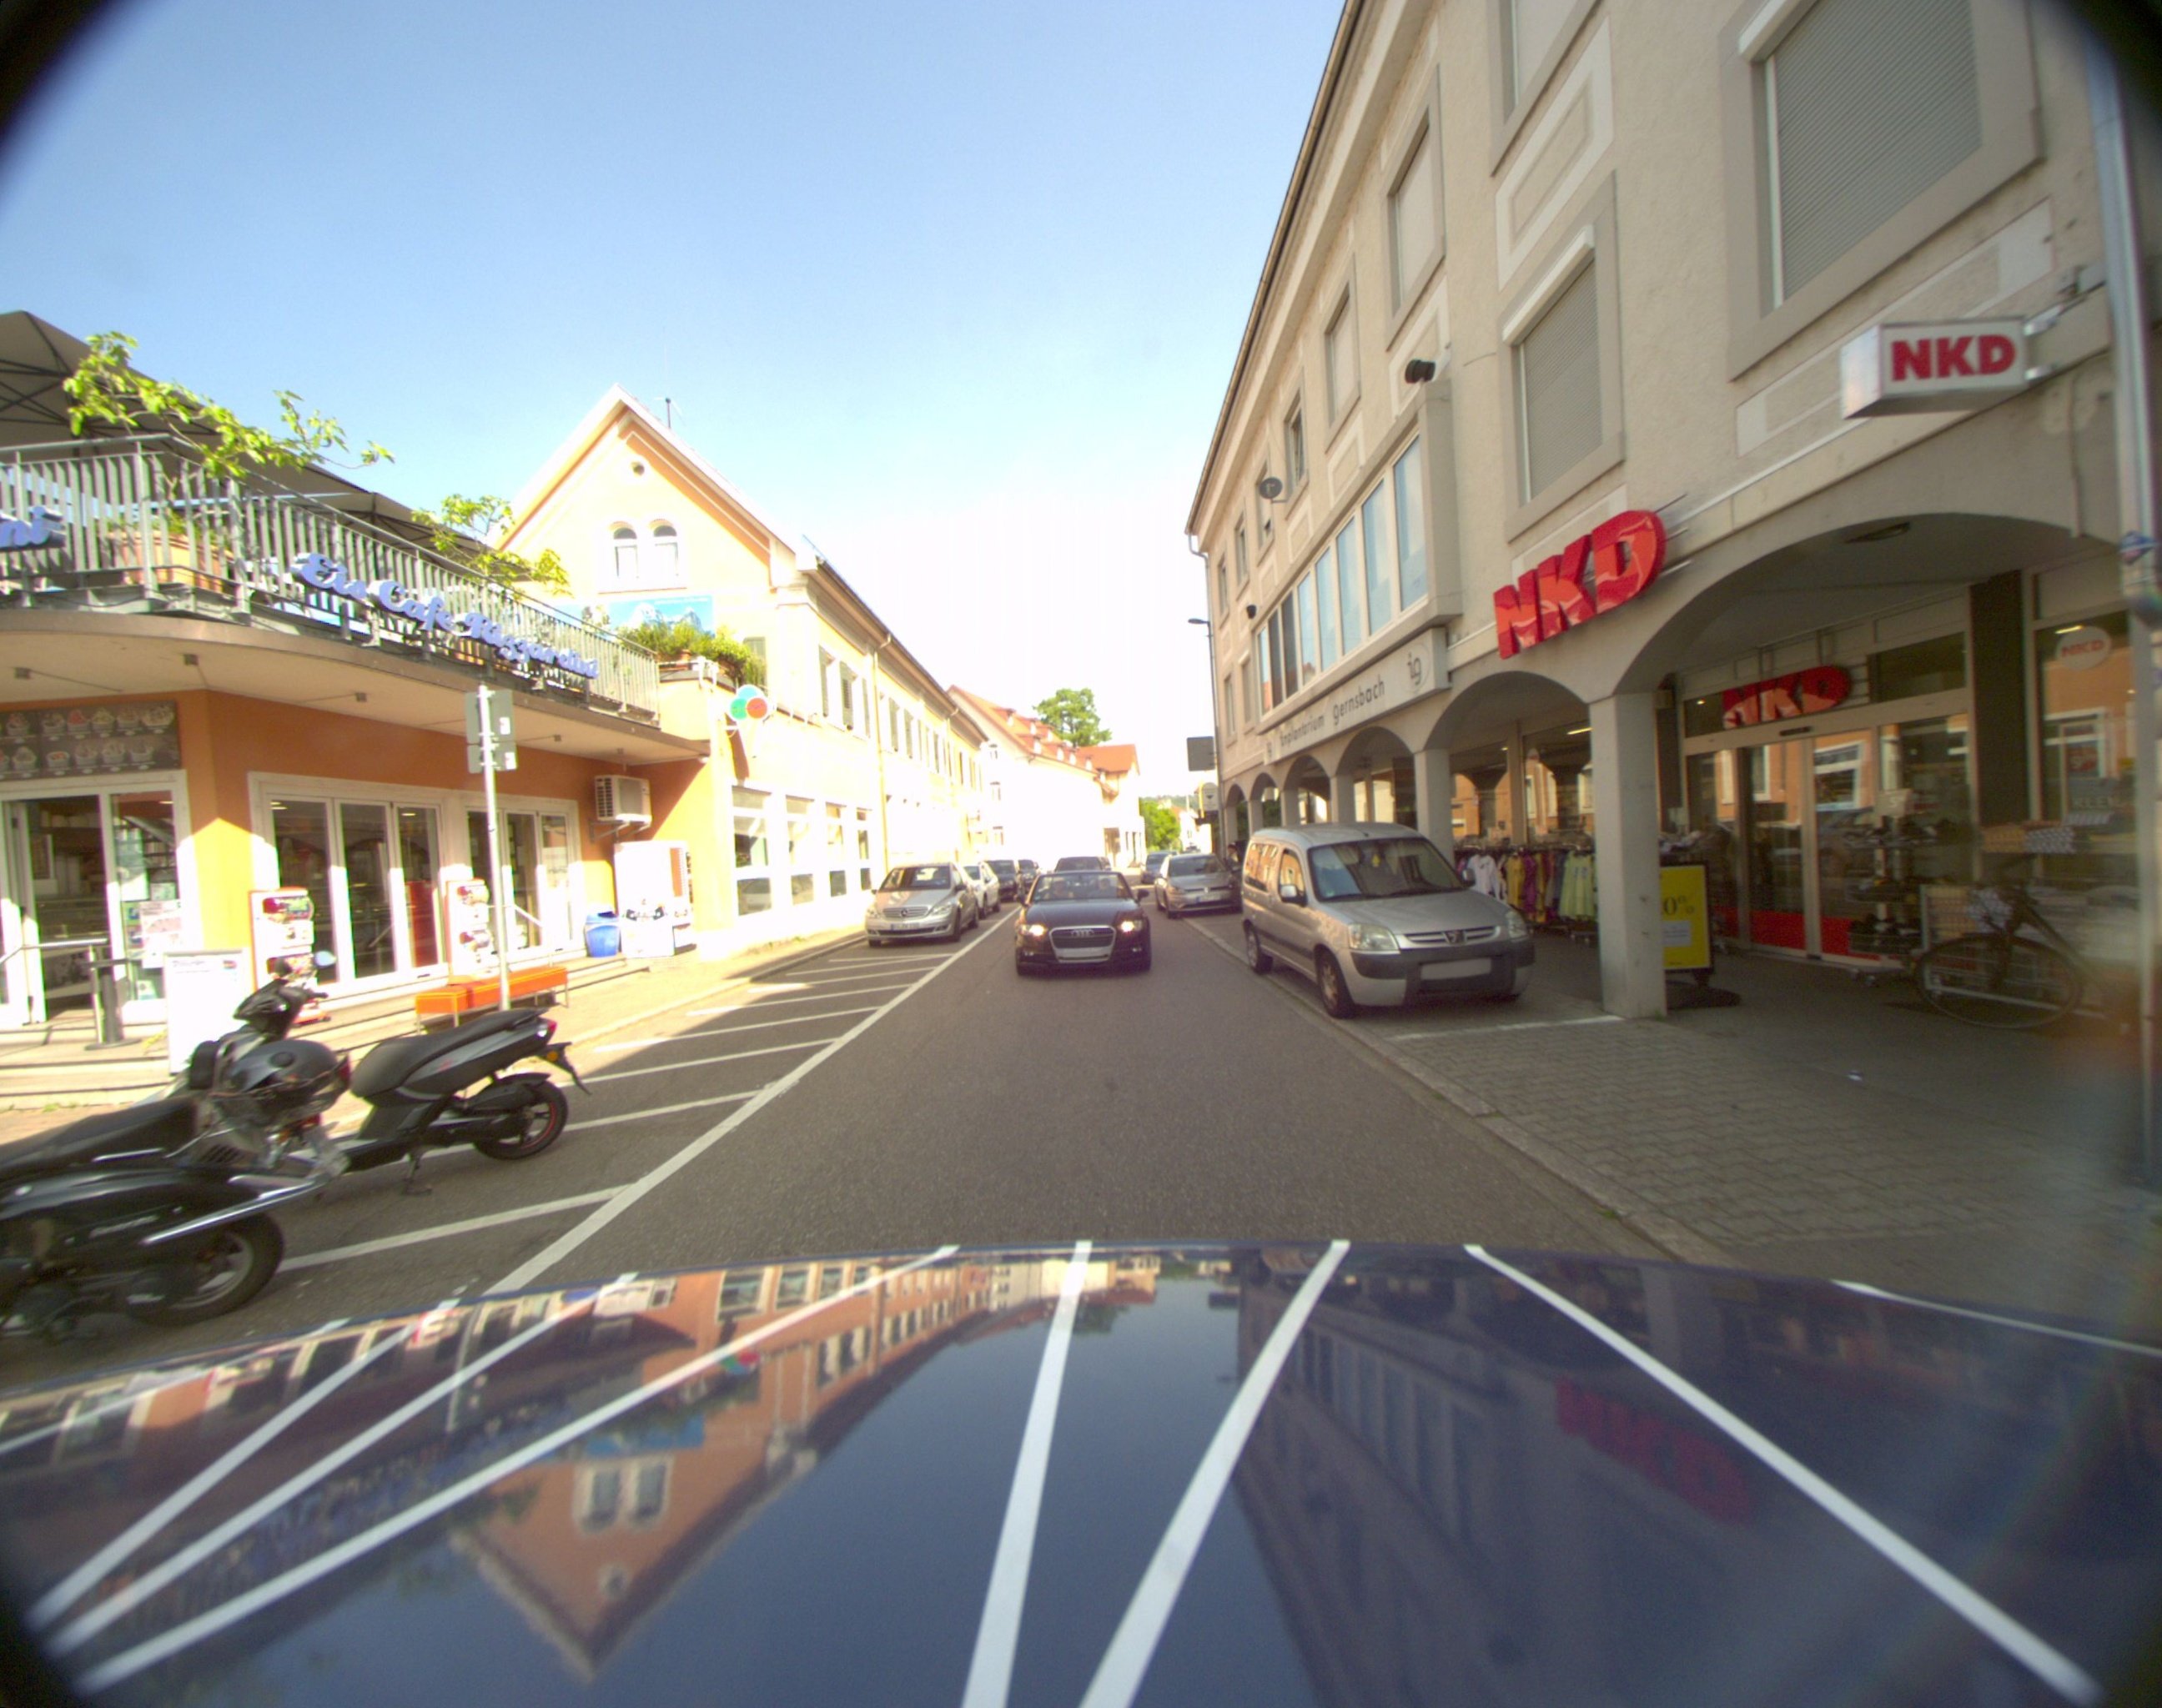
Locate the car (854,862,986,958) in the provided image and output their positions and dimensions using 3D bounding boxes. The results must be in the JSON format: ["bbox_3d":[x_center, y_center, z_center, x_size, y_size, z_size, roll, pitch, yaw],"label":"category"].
[{"bbox_3d":[-3.222,1.041,16.152,1.750,1.588,4.593,-4,0,0],"label":"car"}]

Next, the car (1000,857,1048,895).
[{"bbox_3d":[-2.535,0.972,34.730,1.682,1.531,4.186,-2,0,2],"label":"car"}]

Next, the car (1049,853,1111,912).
[{"bbox_3d":[0.045,0.807,23.486,1.682,1.552,3.971,-3,0,2],"label":"car"}]

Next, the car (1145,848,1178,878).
[{"bbox_3d":[5.041,0.512,47.048,1.681,1.658,3.973,-3,0,10],"label":"car"}]

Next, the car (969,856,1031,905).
[{"bbox_3d":[-3.000,0.927,28.865,1.682,1.636,4.251,-2,0,2],"label":"car"}]

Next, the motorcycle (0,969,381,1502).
[{"bbox_3d":[-3.623,1.206,2.389,1.903,1.350,0.915,-3,1,-34],"label":"motorcycle"}]

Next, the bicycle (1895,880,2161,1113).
[{"bbox_3d":[5.752,0.751,4.196,0.521,1.116,1.824,-3,0,0],"label":"bicycle"}]

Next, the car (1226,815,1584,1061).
[{"bbox_3d":[2.867,0.635,7.847,1.711,1.729,4.145,-5,0,-1],"label":"car"}]

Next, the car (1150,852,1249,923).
[{"bbox_3d":[2.822,0.736,19.041,1.807,1.461,4.455,-4,0,1],"label":"car"}]

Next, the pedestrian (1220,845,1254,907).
[{"bbox_3d":[4.007,0.553,19.507,0.623,1.542,0.534,-4,1,-7],"label":"pedestrian"}]

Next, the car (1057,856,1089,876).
[{"bbox_3d":[-0.545,0.864,55.654,1.526,1.237,4.037,-3,0,12],"label":"car"}]

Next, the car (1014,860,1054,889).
[{"bbox_3d":[-2.464,1.050,40.310,1.683,1.311,3.695,-4,0,2],"label":"car"}]

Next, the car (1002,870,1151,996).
[{"bbox_3d":[0.025,0.997,11.256,1.755,1.348,4.200,-2,0,2],"label":"car"}]

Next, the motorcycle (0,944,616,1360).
[{"bbox_3d":[-3.624,1.225,3.758,2.094,1.263,0.927,-3,1,-39],"label":"motorcycle"}]

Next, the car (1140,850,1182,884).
[{"bbox_3d":[3.961,0.598,38.096,1.769,1.552,3.971,-3,0,2],"label":"car"}]

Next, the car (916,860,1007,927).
[{"bbox_3d":[-3.238,1.012,21.391,1.683,1.549,4.104,-4,0,2],"label":"car"}]
